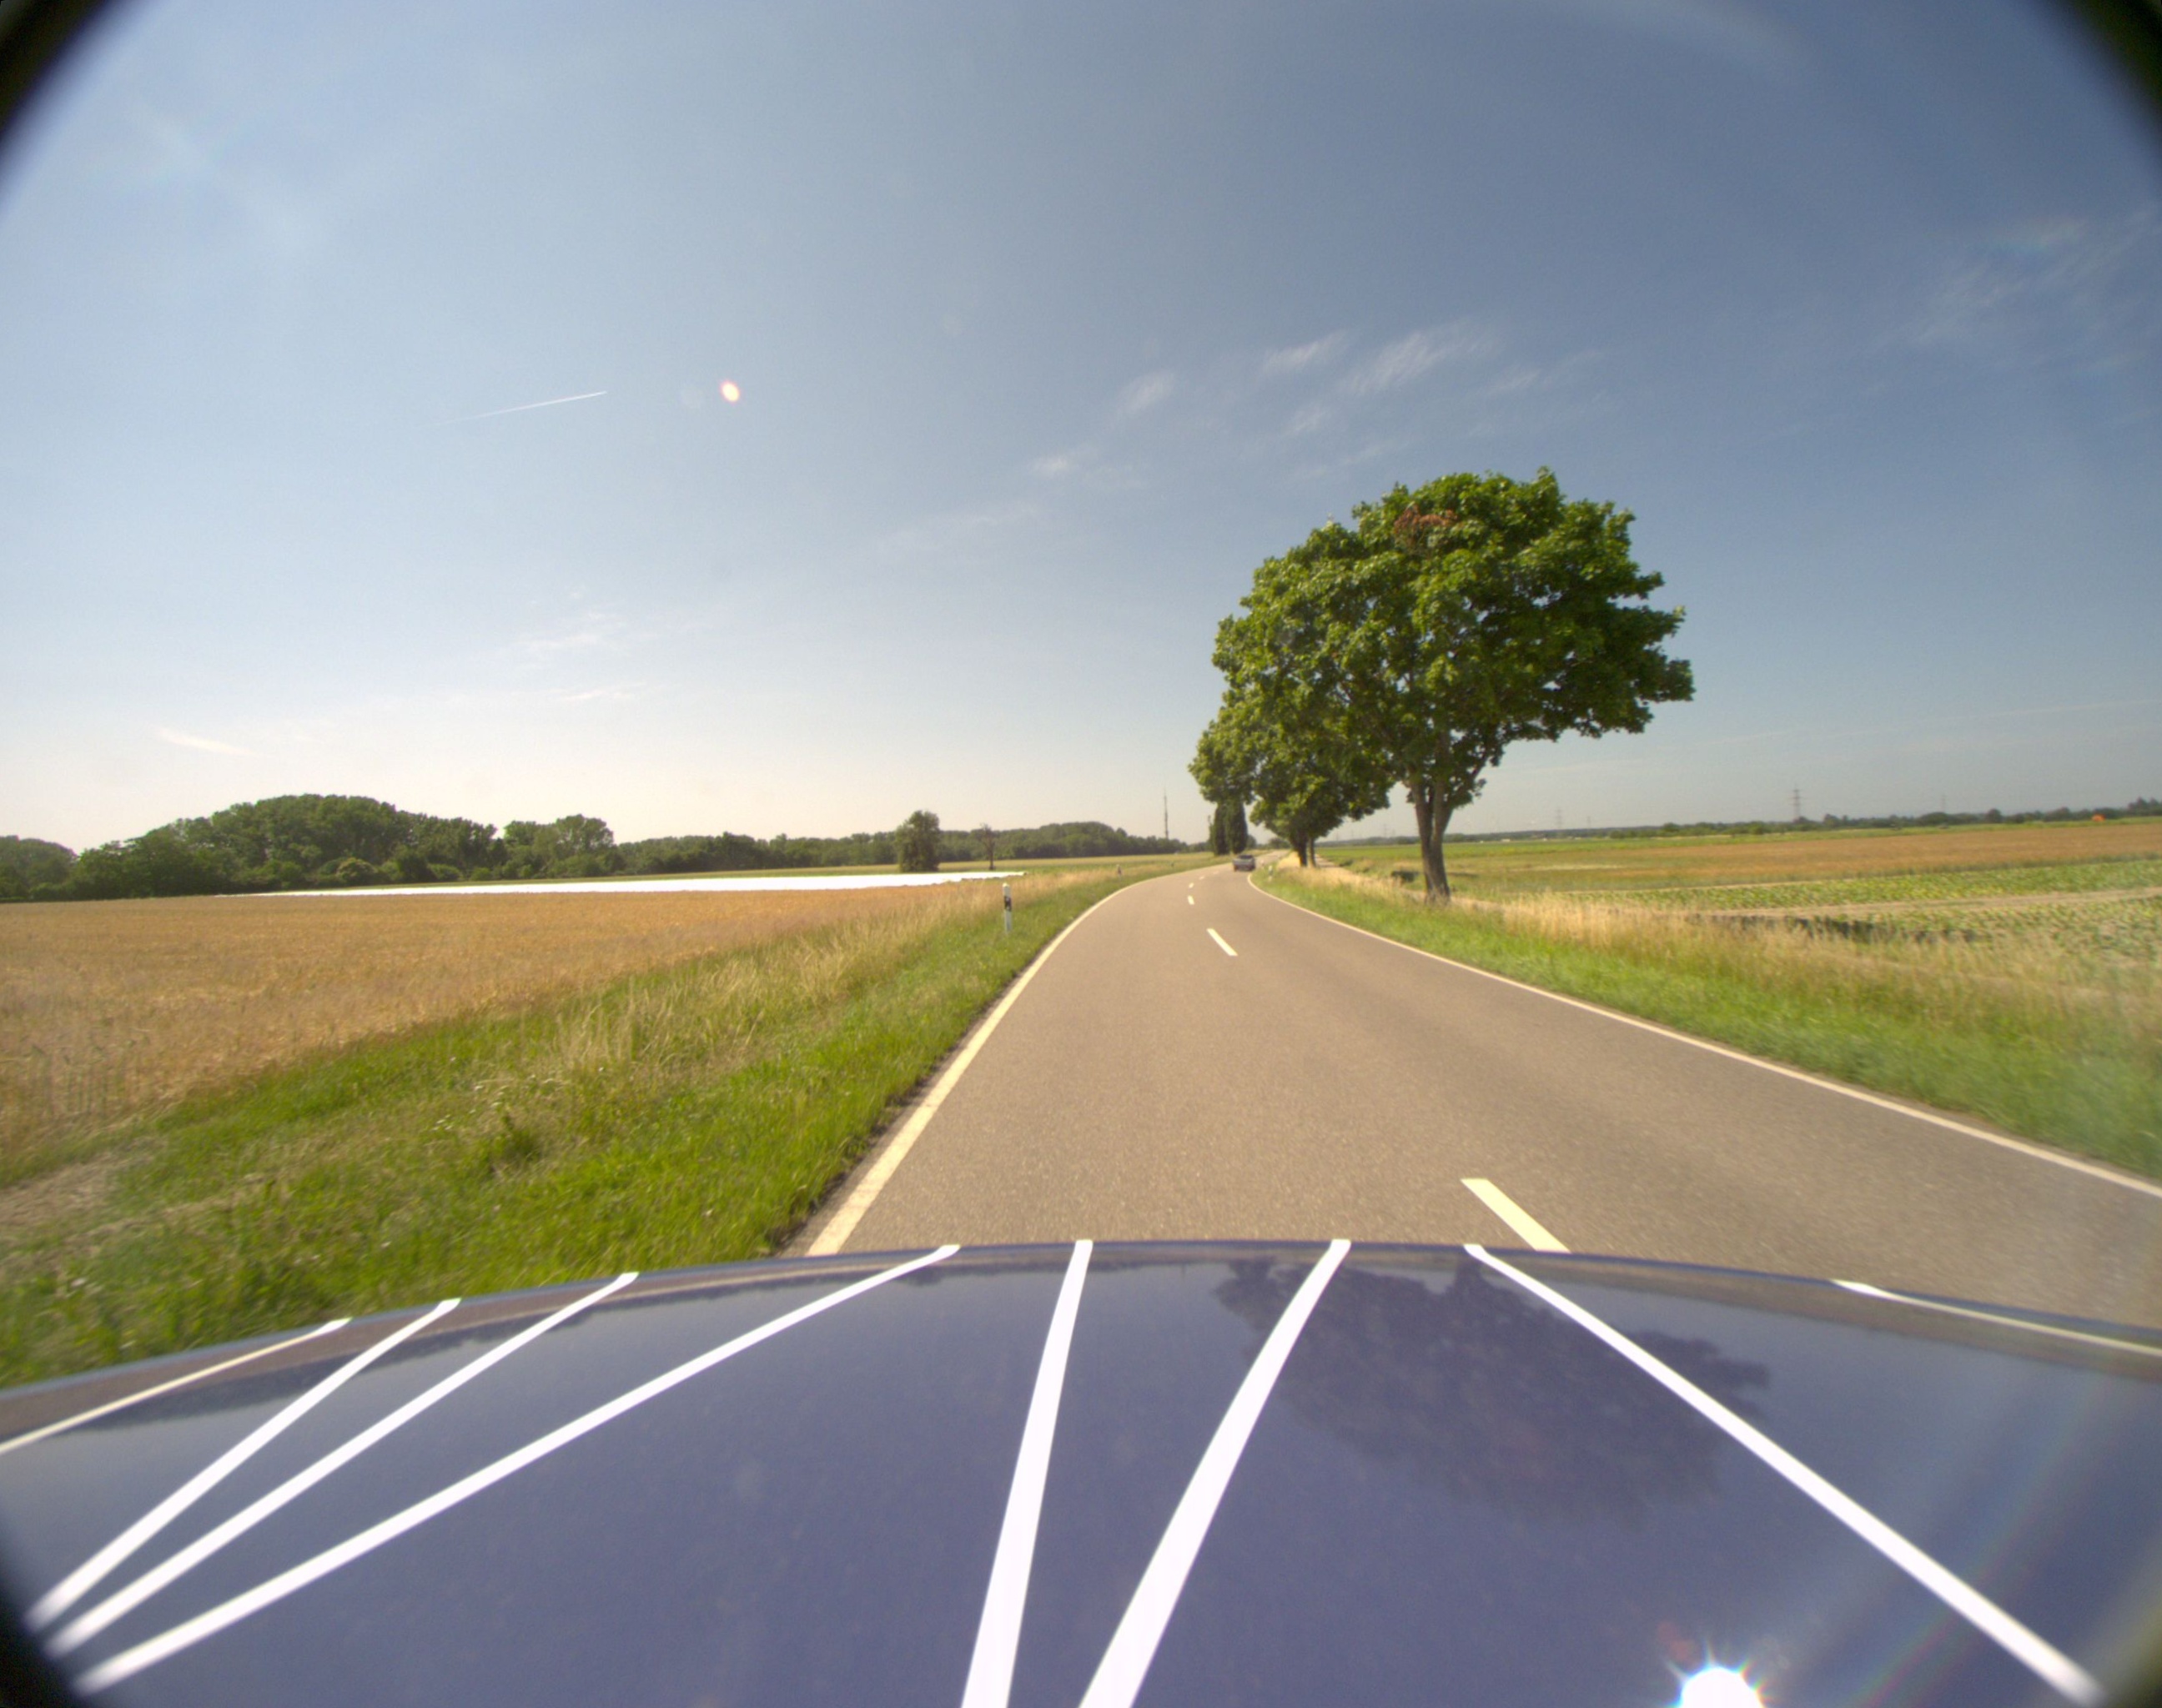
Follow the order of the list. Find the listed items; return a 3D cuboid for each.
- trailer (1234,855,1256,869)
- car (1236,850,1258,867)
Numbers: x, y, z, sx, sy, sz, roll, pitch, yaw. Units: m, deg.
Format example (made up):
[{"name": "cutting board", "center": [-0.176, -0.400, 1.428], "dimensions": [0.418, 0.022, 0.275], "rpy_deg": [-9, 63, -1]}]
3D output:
[{"name": "trailer", "center": [13.840, 0.628, 64.112], "dimensions": [1.624, 1.059, 4.123], "rpy_deg": [1, 1, 15]}, {"name": "car", "center": [14.934, 0.397, 68.103], "dimensions": [1.646, 1.421, 4.185], "rpy_deg": [1, 1, 16]}]
